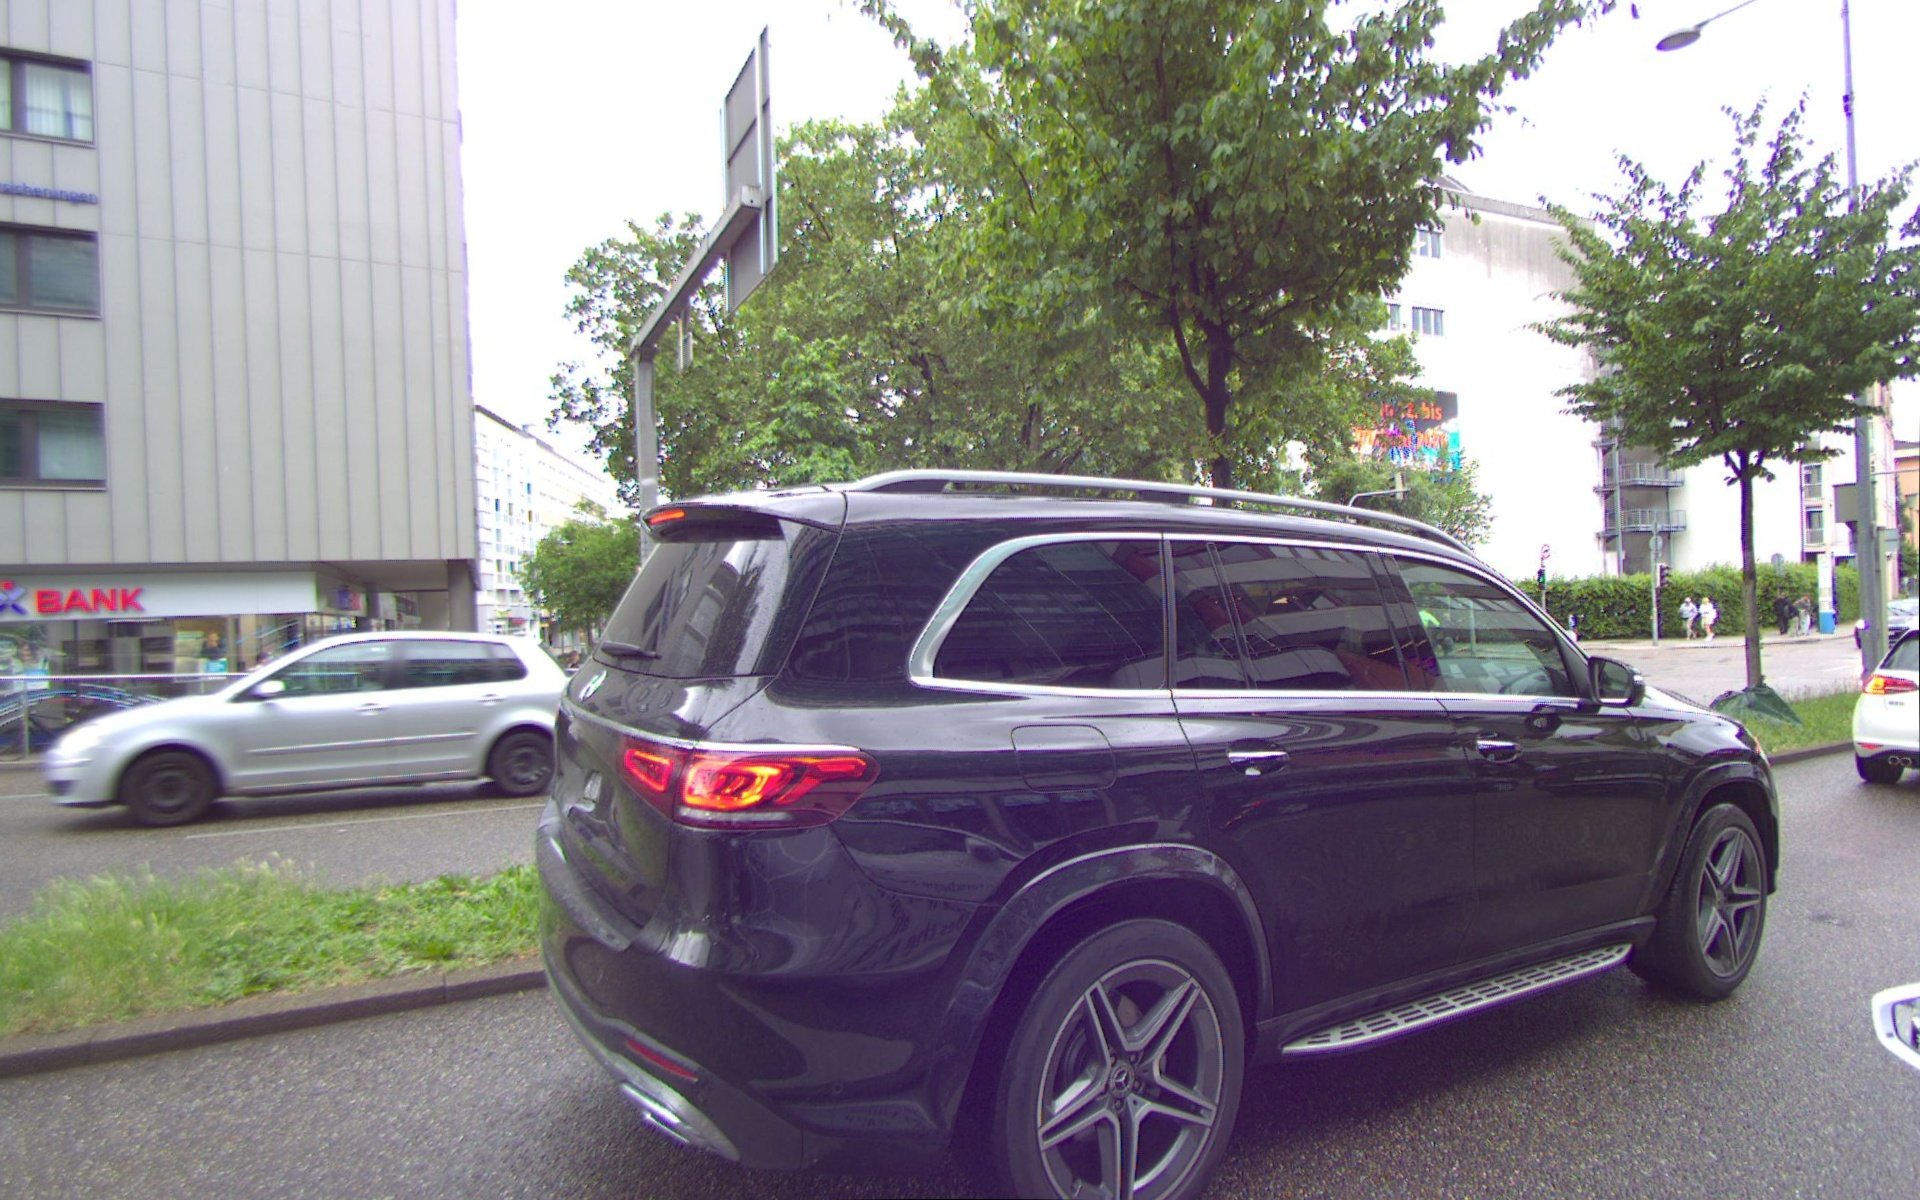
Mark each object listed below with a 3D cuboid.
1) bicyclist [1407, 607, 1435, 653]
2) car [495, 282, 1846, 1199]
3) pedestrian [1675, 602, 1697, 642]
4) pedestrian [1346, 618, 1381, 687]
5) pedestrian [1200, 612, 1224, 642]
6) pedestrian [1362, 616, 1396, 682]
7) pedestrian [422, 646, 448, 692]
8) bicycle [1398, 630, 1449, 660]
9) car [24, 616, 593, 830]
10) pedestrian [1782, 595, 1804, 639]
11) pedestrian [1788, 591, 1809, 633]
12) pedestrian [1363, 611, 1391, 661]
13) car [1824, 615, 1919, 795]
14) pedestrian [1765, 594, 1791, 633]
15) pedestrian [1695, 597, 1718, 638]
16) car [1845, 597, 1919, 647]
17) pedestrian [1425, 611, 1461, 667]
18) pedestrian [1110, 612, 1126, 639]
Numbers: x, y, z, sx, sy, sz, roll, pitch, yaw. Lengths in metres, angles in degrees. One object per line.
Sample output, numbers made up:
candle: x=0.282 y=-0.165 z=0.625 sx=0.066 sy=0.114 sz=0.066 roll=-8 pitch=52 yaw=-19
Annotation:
bicyclist: x=15.771 y=1.035 z=34.355 sx=0.602 sy=1.550 sz=0.629 roll=2 pitch=-3 yaw=-30
car: x=1.129 y=0.514 z=3.780 sx=5.016 sy=1.895 sz=1.901 roll=3 pitch=-1 yaw=-31
pedestrian: x=29.619 y=0.903 z=40.968 sx=0.522 sy=1.620 sz=0.576 roll=2 pitch=-1 yaw=-36
pedestrian: x=10.170 y=1.308 z=25.294 sx=0.572 sy=1.684 sz=0.554 roll=-2 pitch=0 yaw=-30
pedestrian: x=13.729 y=1.454 z=54.743 sx=0.677 sy=1.599 sz=1.055 roll=2 pitch=-1 yaw=-34
pedestrian: x=10.995 y=1.266 z=26.351 sx=0.572 sy=1.684 sz=0.554 roll=-2 pitch=0 yaw=-30
pedestrian: x=-19.834 y=2.607 z=37.946 sx=0.719 sy=1.719 sz=0.782 roll=2 pitch=-3 yaw=-37
bicycle: x=15.891 y=1.557 z=34.410 sx=1.918 sy=1.013 sz=0.612 roll=2 pitch=-3 yaw=-31
car: x=-5.305 y=1.020 z=8.682 sx=3.712 sy=1.487 sz=1.625 roll=4 pitch=-5 yaw=-32
pedestrian: x=34.867 y=0.711 z=42.043 sx=0.741 sy=1.771 sz=0.535 roll=2 pitch=-1 yaw=-38
pedestrian: x=36.068 y=0.516 z=43.196 sx=0.559 sy=1.771 sz=0.535 roll=2 pitch=-1 yaw=-35
pedestrian: x=14.294 y=1.217 z=34.411 sx=0.572 sy=1.689 sz=0.636 roll=-2 pitch=0 yaw=-30
car: x=9.554 y=0.872 z=8.965 sx=3.799 sy=1.448 sz=1.768 roll=0 pitch=0 yaw=-32
pedestrian: x=35.662 y=0.598 z=43.794 sx=0.724 sy=1.664 sz=0.635 roll=2 pitch=-1 yaw=-27
pedestrian: x=29.985 y=0.702 z=40.344 sx=0.522 sy=1.620 sz=0.576 roll=2 pitch=-1 yaw=-36
car: x=30.138 y=0.669 z=32.349 sx=3.571 sy=1.506 sz=1.565 roll=0 pitch=1 yaw=-33
pedestrian: x=14.928 y=1.186 z=31.040 sx=0.620 sy=1.684 sz=0.749 roll=-2 pitch=0 yaw=-30
pedestrian: x=9.901 y=1.572 z=62.959 sx=0.723 sy=1.664 sz=0.635 roll=2 pitch=0 yaw=-23
